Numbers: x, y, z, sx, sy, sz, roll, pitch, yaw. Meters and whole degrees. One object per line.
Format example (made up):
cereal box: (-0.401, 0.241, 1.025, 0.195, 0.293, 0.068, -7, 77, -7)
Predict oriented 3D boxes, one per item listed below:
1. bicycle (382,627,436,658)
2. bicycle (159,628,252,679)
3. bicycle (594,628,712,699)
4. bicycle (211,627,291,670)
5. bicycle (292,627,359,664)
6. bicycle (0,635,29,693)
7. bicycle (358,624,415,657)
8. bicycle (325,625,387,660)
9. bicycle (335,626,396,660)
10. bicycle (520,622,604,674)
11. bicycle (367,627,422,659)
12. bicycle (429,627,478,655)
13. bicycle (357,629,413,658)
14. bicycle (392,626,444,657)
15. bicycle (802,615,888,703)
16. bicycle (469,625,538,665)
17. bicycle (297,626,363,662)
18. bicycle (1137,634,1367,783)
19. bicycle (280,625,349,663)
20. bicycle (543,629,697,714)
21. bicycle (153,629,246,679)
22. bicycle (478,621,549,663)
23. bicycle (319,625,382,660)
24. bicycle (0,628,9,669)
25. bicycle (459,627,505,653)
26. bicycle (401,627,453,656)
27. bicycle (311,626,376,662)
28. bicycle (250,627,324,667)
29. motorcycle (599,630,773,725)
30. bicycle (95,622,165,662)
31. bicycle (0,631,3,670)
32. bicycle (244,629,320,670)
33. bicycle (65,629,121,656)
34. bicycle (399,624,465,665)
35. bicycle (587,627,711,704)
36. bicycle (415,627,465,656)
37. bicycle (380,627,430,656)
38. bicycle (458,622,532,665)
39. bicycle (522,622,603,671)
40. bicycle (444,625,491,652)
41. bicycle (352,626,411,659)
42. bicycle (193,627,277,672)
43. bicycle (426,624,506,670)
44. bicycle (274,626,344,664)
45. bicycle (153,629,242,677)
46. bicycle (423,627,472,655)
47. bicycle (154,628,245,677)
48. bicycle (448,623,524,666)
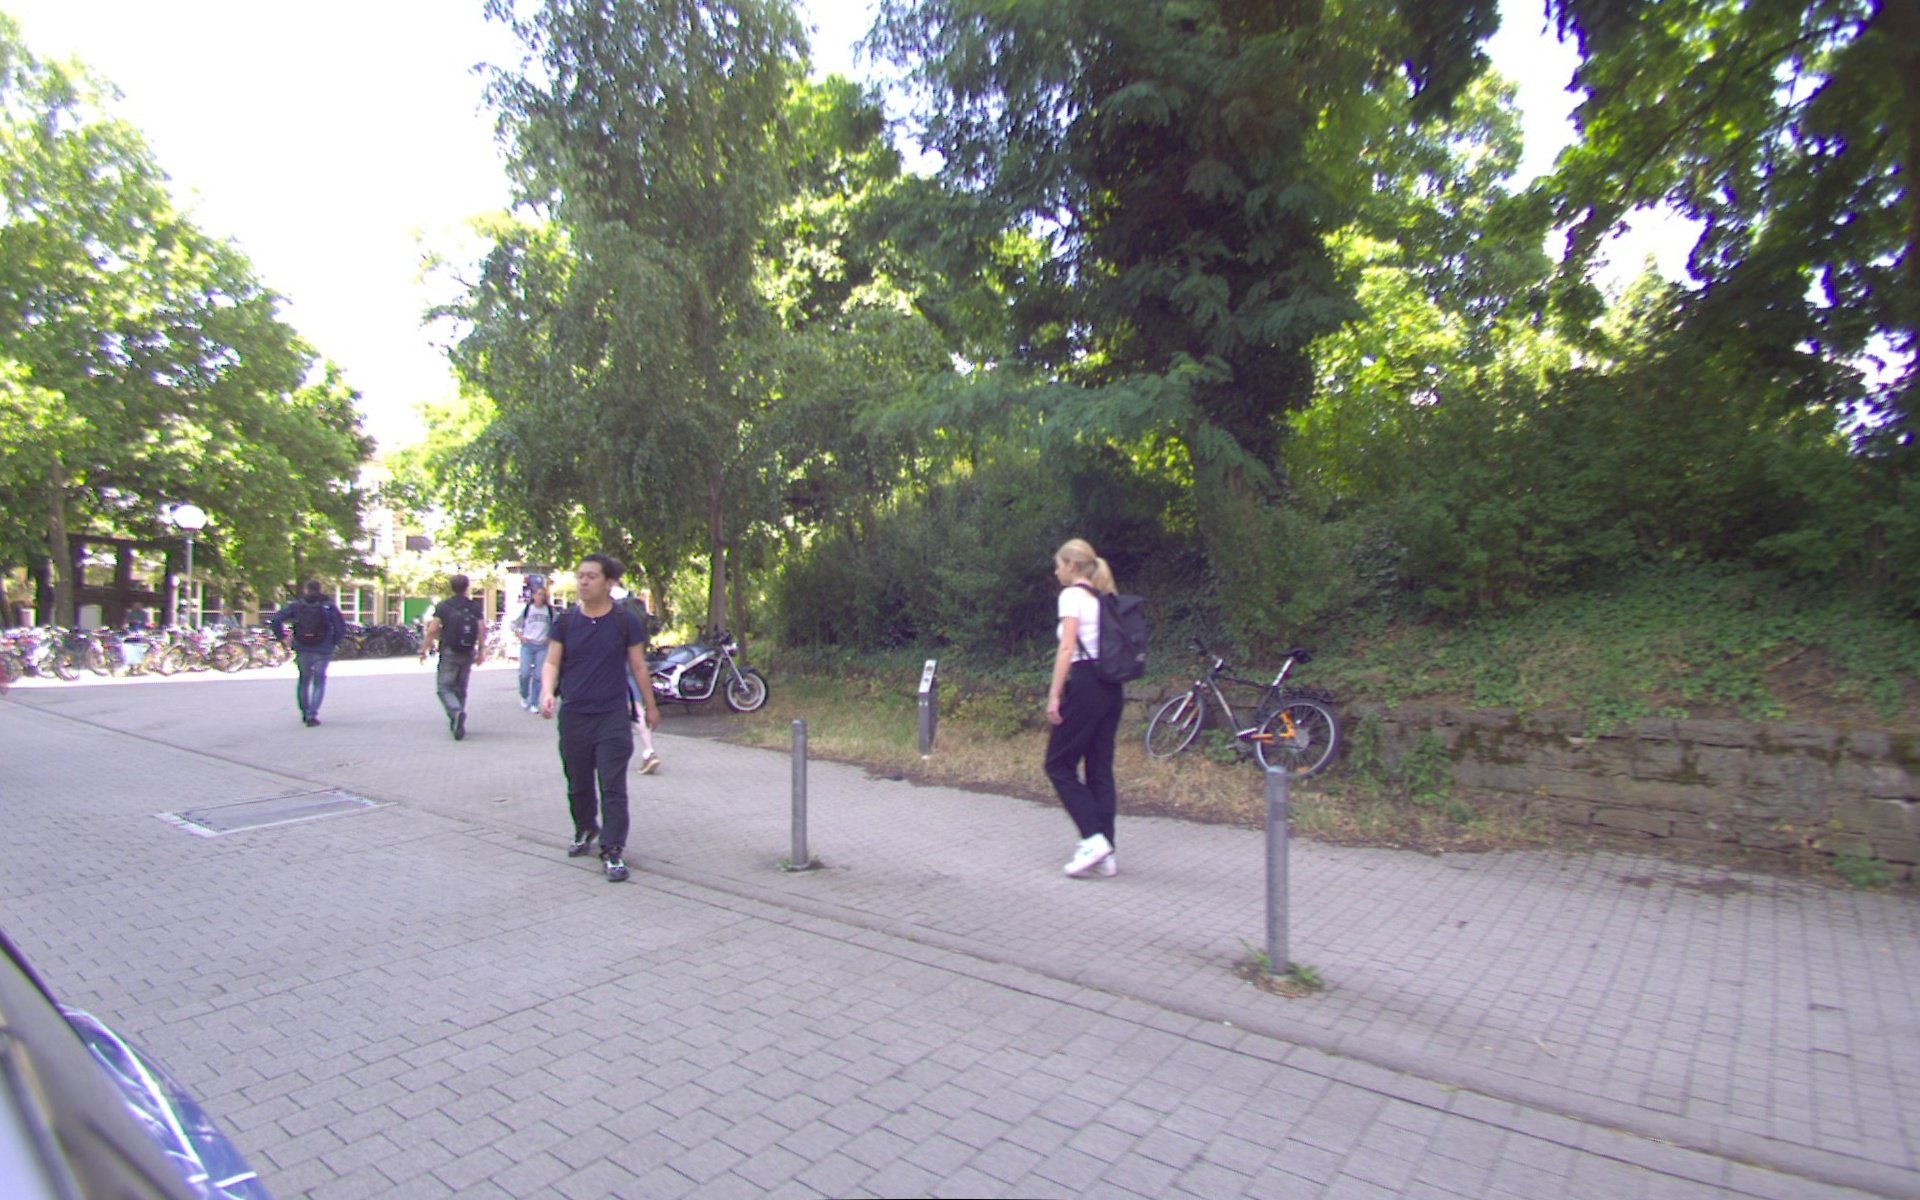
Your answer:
bicycle: (-19.907, 1.531, 36.575, 1.675, 1.092, 0.474, 0, -1, -1)
bicycle: (-17.190, 1.203, 23.075, 1.672, 1.118, 0.475, 0, -1, -40)
bicycle: (-4.709, 0.962, 15.565, 1.675, 1.055, 0.474, 0, -1, -2)
bicycle: (-18.604, 1.260, 26.580, 1.672, 1.092, 0.475, 0, -1, -10)
bicycle: (-19.379, 1.381, 30.946, 1.670, 1.092, 0.475, 0, -1, -17)
bicycle: (-18.914, 1.228, 19.257, 1.671, 1.092, 0.606, 0, -1, -34)
bicycle: (-19.782, 1.394, 34.918, 1.672, 1.092, 0.475, 0, -1, -9)
bicycle: (-19.675, 1.381, 33.002, 1.670, 1.092, 0.475, 0, -1, -17)
bicycle: (-19.731, 1.429, 33.611, 1.670, 1.092, 0.475, 0, -1, -17)
bicycle: (-8.970, 1.072, 22.818, 1.747, 1.118, 0.476, 0, -1, -23)
bicycle: (-20.171, 1.534, 36.116, 1.675, 1.092, 0.474, 0, -1, -1)
bicycle: (-20.131, 1.635, 40.236, 1.675, 1.092, 0.474, 0, -1, -1)
bicycle: (-20.198, 1.522, 35.544, 1.715, 0.969, 0.452, 0, -1, -1)
bicycle: (-20.026, 1.529, 37.389, 1.675, 1.092, 0.474, 0, -1, -1)
bicycle: (-1.557, 0.747, 13.462, 0.466, 1.055, 1.705, -2, 1, -30)
bicycle: (-13.025, 1.272, 28.916, 1.748, 1.118, 0.475, 0, -1, -13)
bicycle: (-19.530, 1.362, 31.404, 1.670, 1.092, 0.475, 0, -1, -17)
bicycle: (2.098, 0.742, 7.497, 0.416, 0.917, 1.744, 1, 0, -36)
bicycle: (-19.275, 1.306, 30.257, 1.670, 1.092, 0.475, 0, -1, -17)
bicycle: (-4.566, 0.950, 13.649, 1.881, 1.055, 0.542, -1, -1, -2)
bicycle: (-17.580, 1.223, 23.421, 1.696, 1.092, 0.475, 0, -1, -37)
bicycle: (-12.381, 1.159, 28.116, 1.748, 1.118, 0.475, 0, -1, -13)
bicycle: (-19.556, 1.364, 32.506, 1.670, 1.092, 0.475, 0, -1, -17)
bicycle: (-28.190, 1.399, 28.710, 0.496, 1.187, 1.719, -1, -1, 37)
bicycle: (-19.990, 1.675, 42.325, 1.675, 1.092, 0.474, 0, -1, -1)
bicycle: (-19.994, 1.553, 37.983, 1.675, 1.092, 0.474, 0, -1, -1)
bicycle: (-19.457, 1.391, 31.975, 1.670, 1.092, 0.475, 0, -1, -17)
bicycle: (-19.044, 1.311, 28.669, 1.670, 1.092, 0.475, 0, -1, -17)
motorcycle: (-3.329, 0.932, 12.415, 1.993, 1.055, 0.475, -2, -1, -9)
bicycle: (-25.701, 1.283, 31.363, 1.675, 1.209, 0.576, 0, -1, -1)
bicycle: (-27.537, 1.413, 27.856, 0.494, 1.116, 1.684, -1, -1, 27)
bicycle: (-18.562, 1.358, 27.742, 1.671, 1.092, 0.475, 0, -1, -14)
bicycle: (-37.842, 1.835, 44.210, 0.392, 1.116, 1.819, -1, -1, 31)
bicycle: (-15.199, 1.253, 29.165, 0.471, 1.118, 1.831, -1, -1, 22)
bicycle: (-4.578, 0.952, 14.944, 1.675, 1.055, 0.474, -1, 0, -2)
bicycle: (-20.072, 1.589, 39.075, 1.675, 1.092, 0.474, 0, -1, -1)
bicycle: (-21.219, 1.580, 38.704, 1.675, 1.092, 0.474, 0, -1, -1)
bicycle: (-12.459, 1.149, 27.147, 1.748, 1.118, 0.475, 0, -1, -13)
bicycle: (-9.351, 1.076, 23.827, 1.747, 1.118, 0.476, 0, -1, -23)
bicycle: (-20.131, 1.585, 41.369, 1.675, 1.092, 0.474, 0, -1, -1)
bicycle: (-19.662, 1.437, 34.396, 1.672, 1.092, 0.475, 0, -1, -9)
bicycle: (-18.242, 1.242, 25.485, 1.672, 1.092, 0.475, 0, -1, -10)
bicycle: (-12.413, 1.170, 25.479, 1.749, 1.118, 0.475, 0, -1, -8)
bicycle: (-19.112, 1.312, 29.740, 1.670, 1.092, 0.475, 0, -1, -17)
bicycle: (-18.272, 1.257, 24.290, 1.671, 1.092, 0.475, 0, -1, -32)
bicycle: (-20.130, 1.616, 39.757, 1.675, 1.092, 0.474, 0, -1, -1)
bicycle: (-17.911, 1.223, 23.873, 1.671, 1.092, 0.475, 0, -1, -32)
bicycle: (-12.435, 1.163, 26.588, 1.749, 1.118, 0.475, 0, -1, -8)
